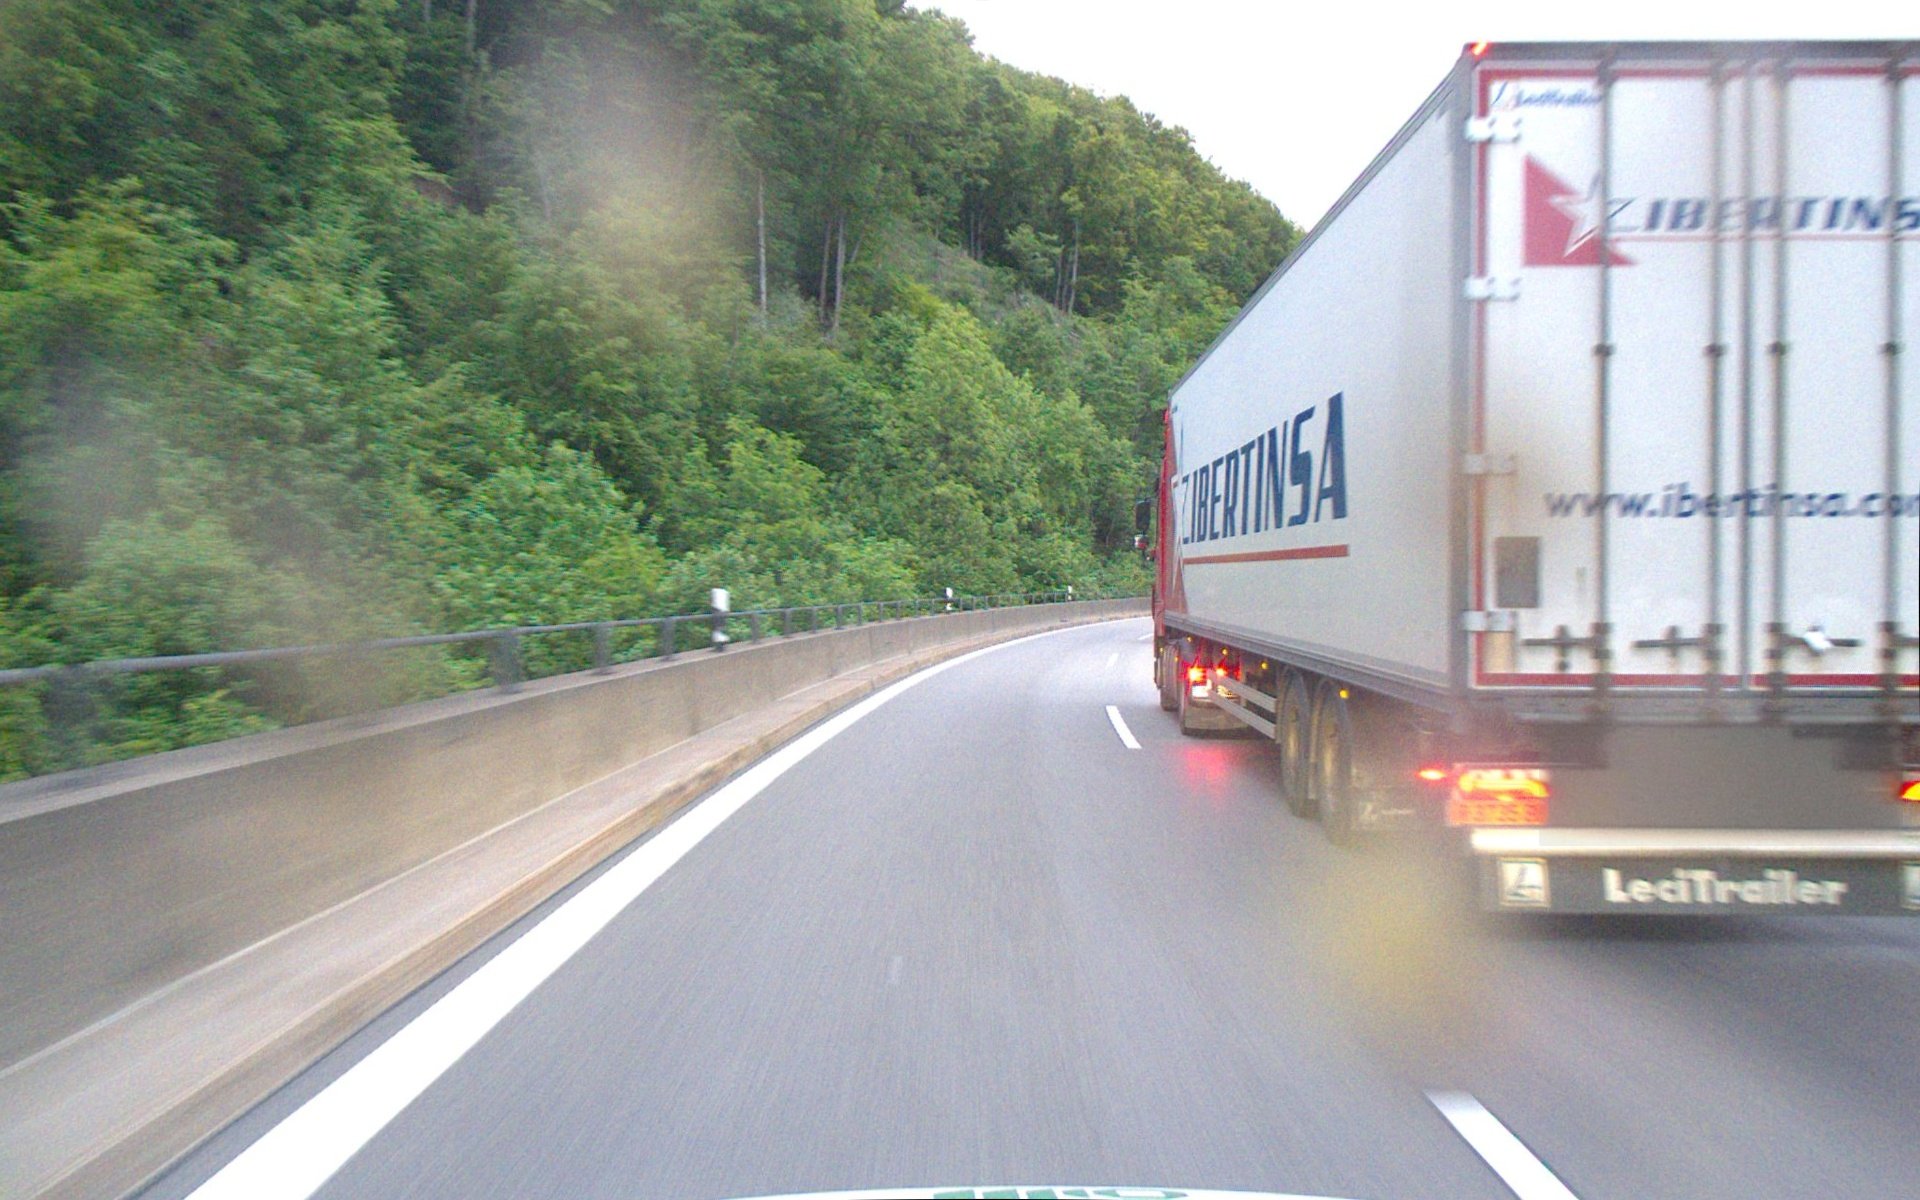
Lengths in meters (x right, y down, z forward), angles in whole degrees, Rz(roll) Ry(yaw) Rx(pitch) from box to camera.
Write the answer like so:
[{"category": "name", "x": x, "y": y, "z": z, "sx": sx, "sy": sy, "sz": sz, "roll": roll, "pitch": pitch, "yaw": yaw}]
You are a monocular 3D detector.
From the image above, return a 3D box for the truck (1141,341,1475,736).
[{"category": "truck", "x": 4.075, "y": -0.642, "z": 20.900, "sx": 3.005, "sy": 4.217, "sz": 6.447, "roll": 0, "pitch": 0, "yaw": 1}]

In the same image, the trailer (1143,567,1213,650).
[{"category": "trailer", "x": 6.855, "y": 0.187, "z": 51.662, "sx": 2.011, "sy": 2.416, "sz": 5.943, "roll": 1, "pitch": 1, "yaw": 8}]

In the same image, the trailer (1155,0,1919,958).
[{"category": "trailer", "x": 3.857, "y": -0.594, "z": 14.111, "sx": 3.033, "sy": 4.039, "sz": 14.221, "roll": -1, "pitch": 1, "yaw": 1}]
